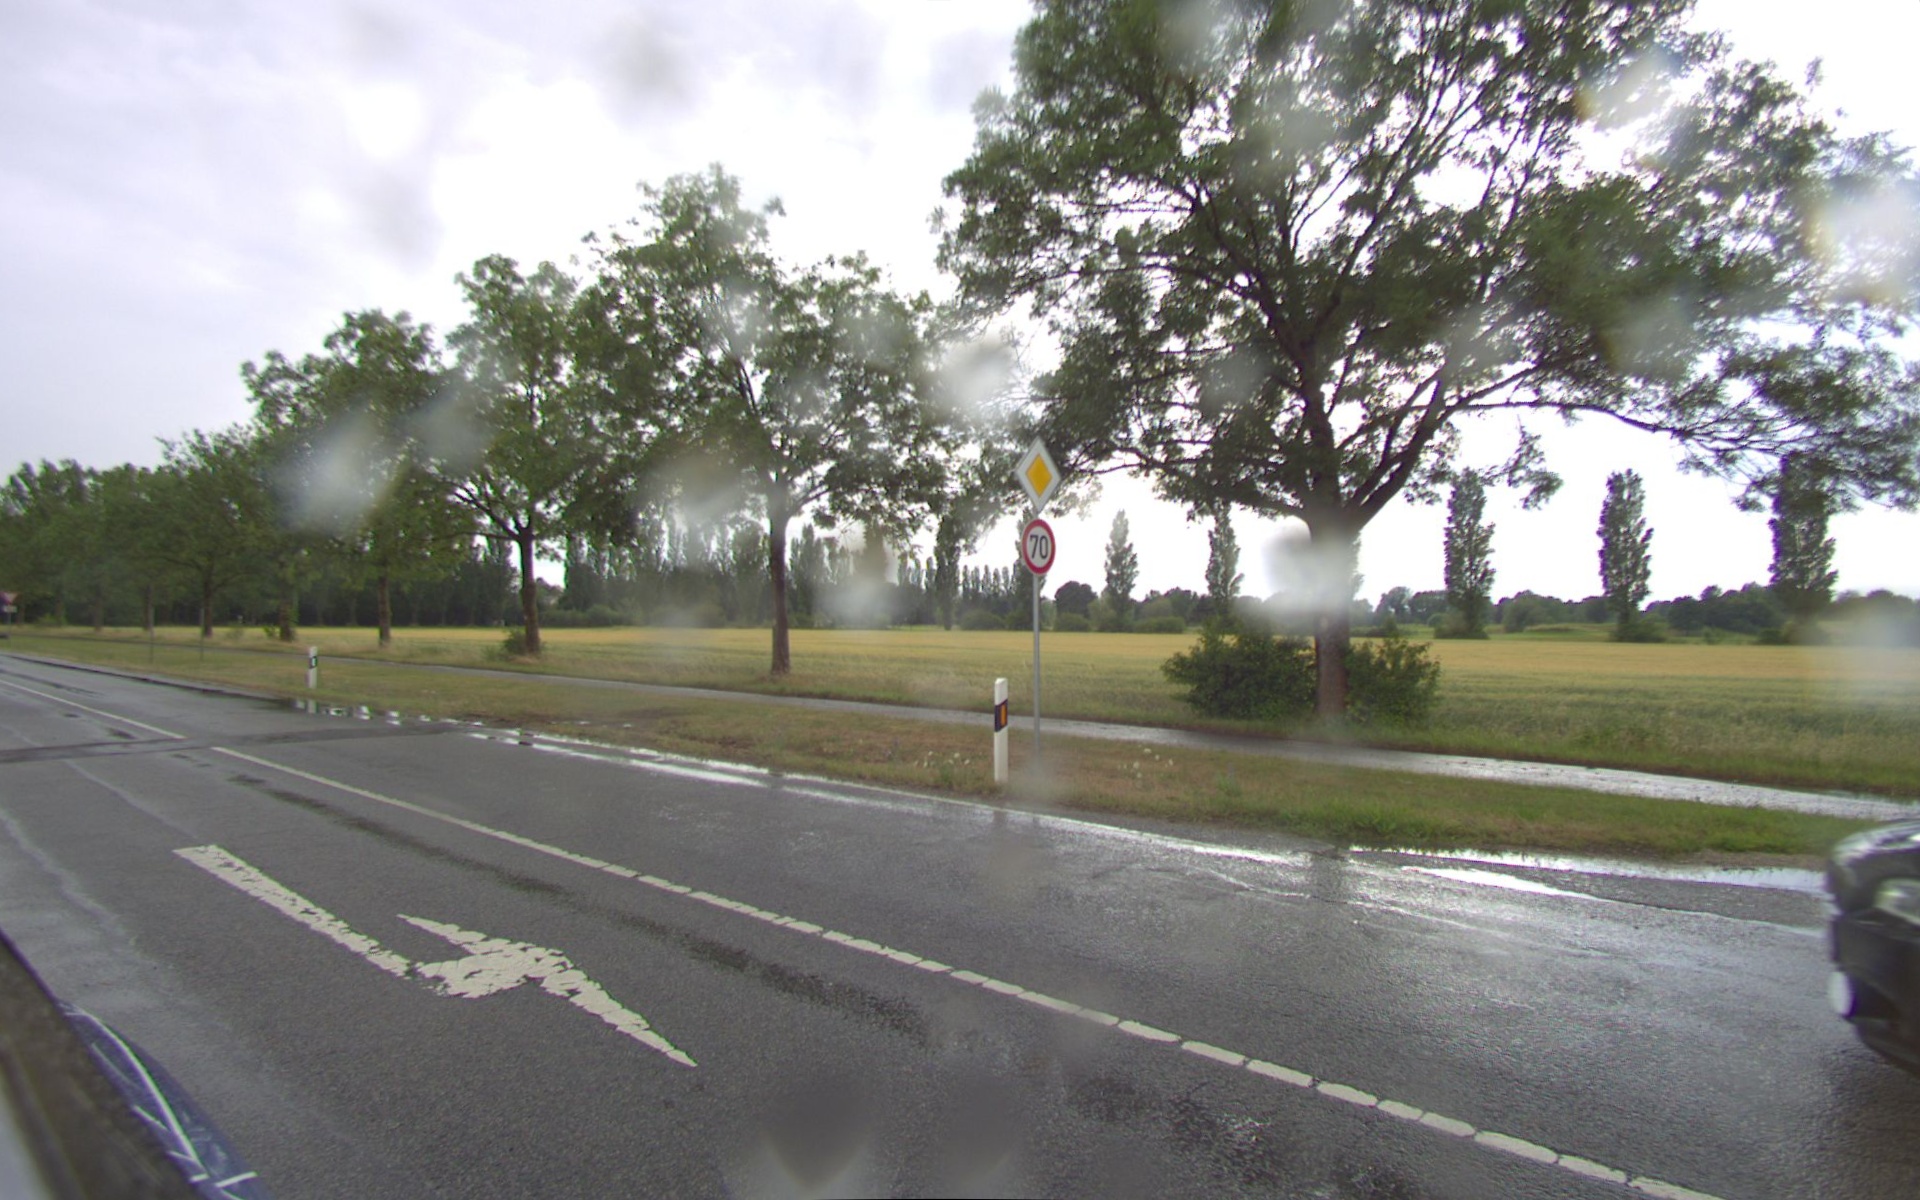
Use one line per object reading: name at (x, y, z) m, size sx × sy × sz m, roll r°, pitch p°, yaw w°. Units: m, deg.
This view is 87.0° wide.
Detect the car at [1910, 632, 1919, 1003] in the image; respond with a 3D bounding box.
car at (4.943, 0.791, 1.937) m, size 4.409 × 1.449 × 1.748 m, roll -1°, pitch -3°, yaw 40°
